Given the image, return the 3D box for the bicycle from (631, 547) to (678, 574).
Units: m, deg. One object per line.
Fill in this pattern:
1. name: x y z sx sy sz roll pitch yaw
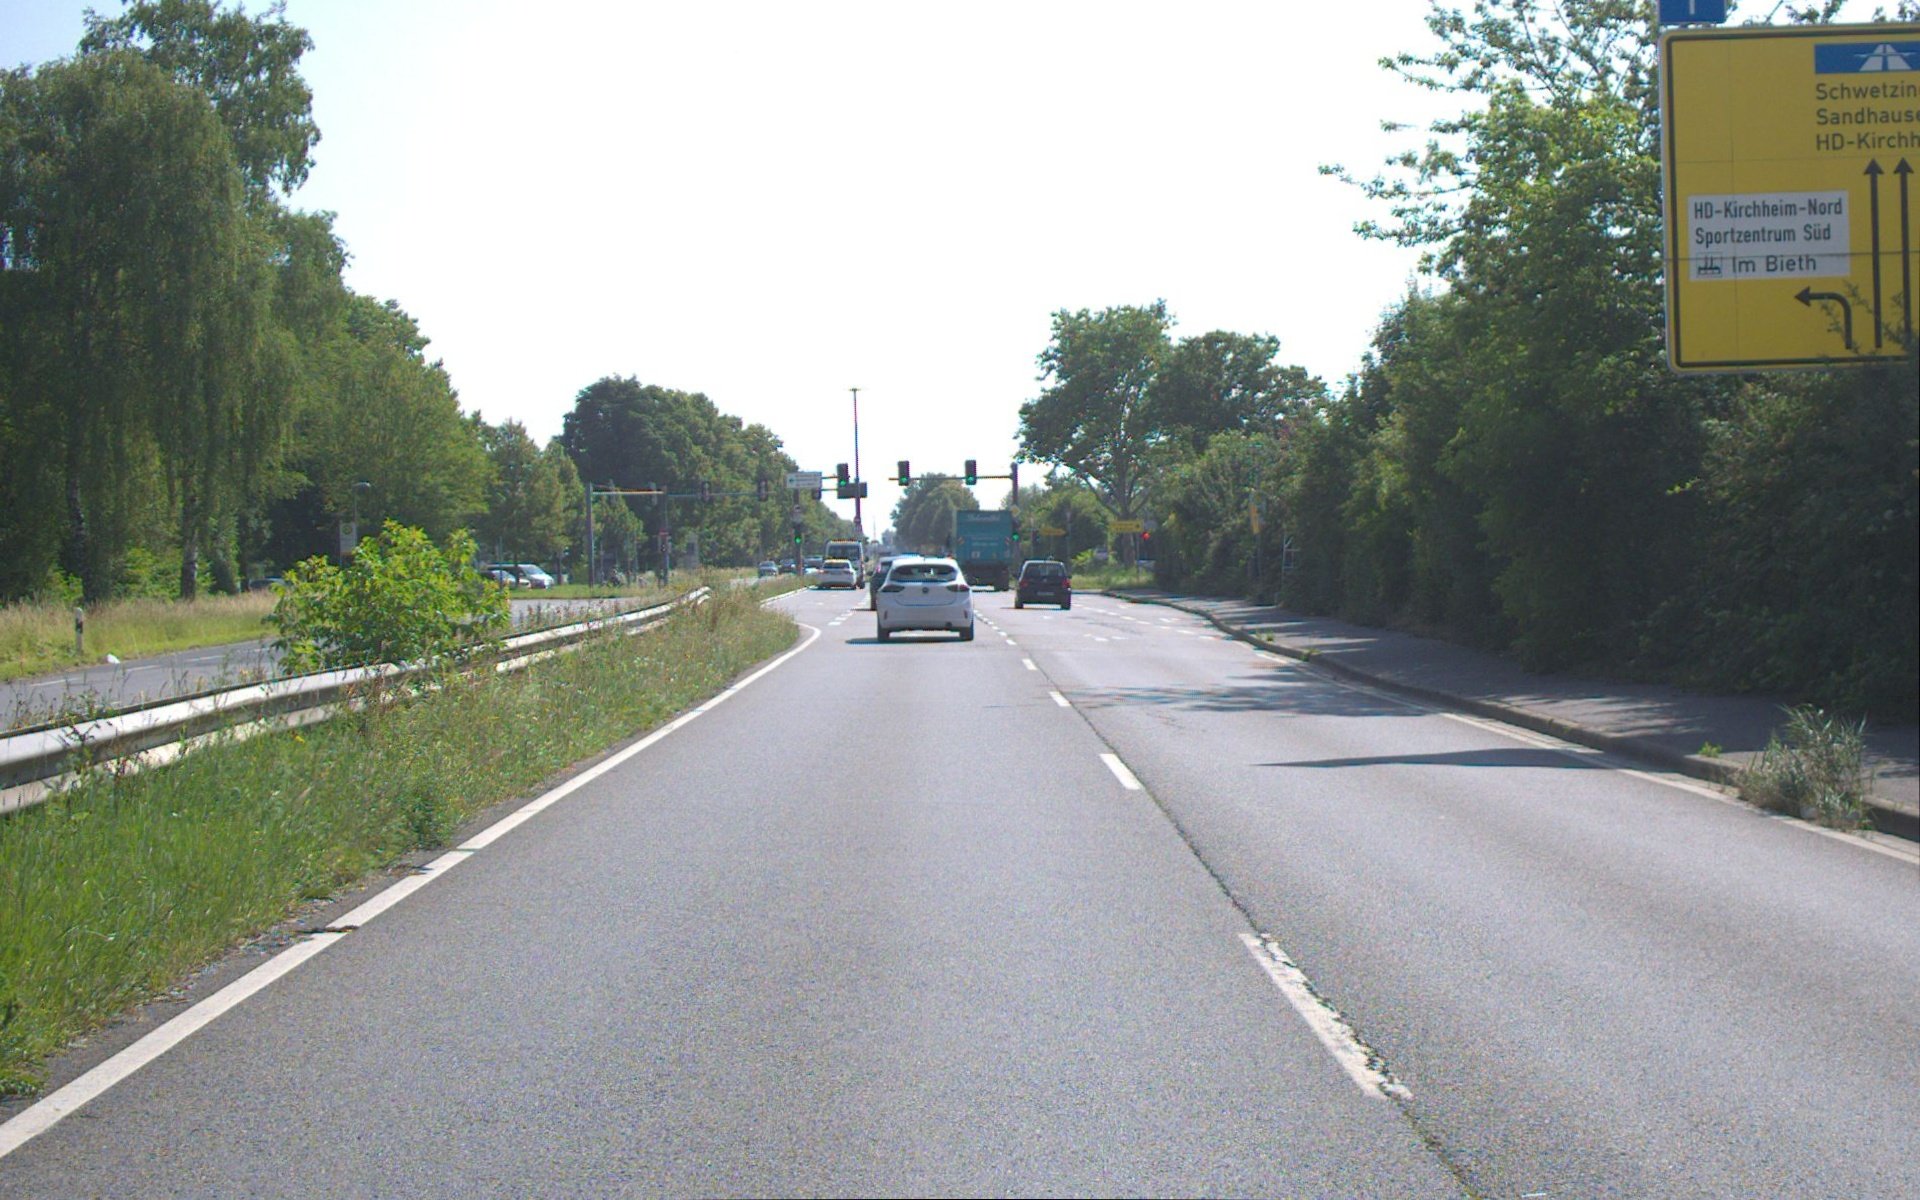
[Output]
1. bicycle: -19.333 -2.499 217.596 2.796 1.664 1.134 -1 1 27

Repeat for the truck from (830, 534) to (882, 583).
1. truck: -5.244 -2.089 173.565 2.373 2.381 6.040 1 1 1

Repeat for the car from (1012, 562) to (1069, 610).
1. car: 2.381 -0.413 102.084 1.572 1.410 3.277 0 0 -1

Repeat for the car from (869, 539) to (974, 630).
1. car: -0.664 -0.294 61.205 1.798 1.547 4.000 0 1 0

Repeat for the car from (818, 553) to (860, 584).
1. car: -5.860 -1.527 166.335 1.812 1.459 4.971 1 0 0

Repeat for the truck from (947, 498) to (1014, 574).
1. truck: 0.917 -3.025 161.851 2.891 3.417 9.169 -1 1 -1

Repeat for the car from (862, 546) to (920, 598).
1. car: -1.916 -0.801 96.409 1.572 1.409 3.278 1 1 -1
